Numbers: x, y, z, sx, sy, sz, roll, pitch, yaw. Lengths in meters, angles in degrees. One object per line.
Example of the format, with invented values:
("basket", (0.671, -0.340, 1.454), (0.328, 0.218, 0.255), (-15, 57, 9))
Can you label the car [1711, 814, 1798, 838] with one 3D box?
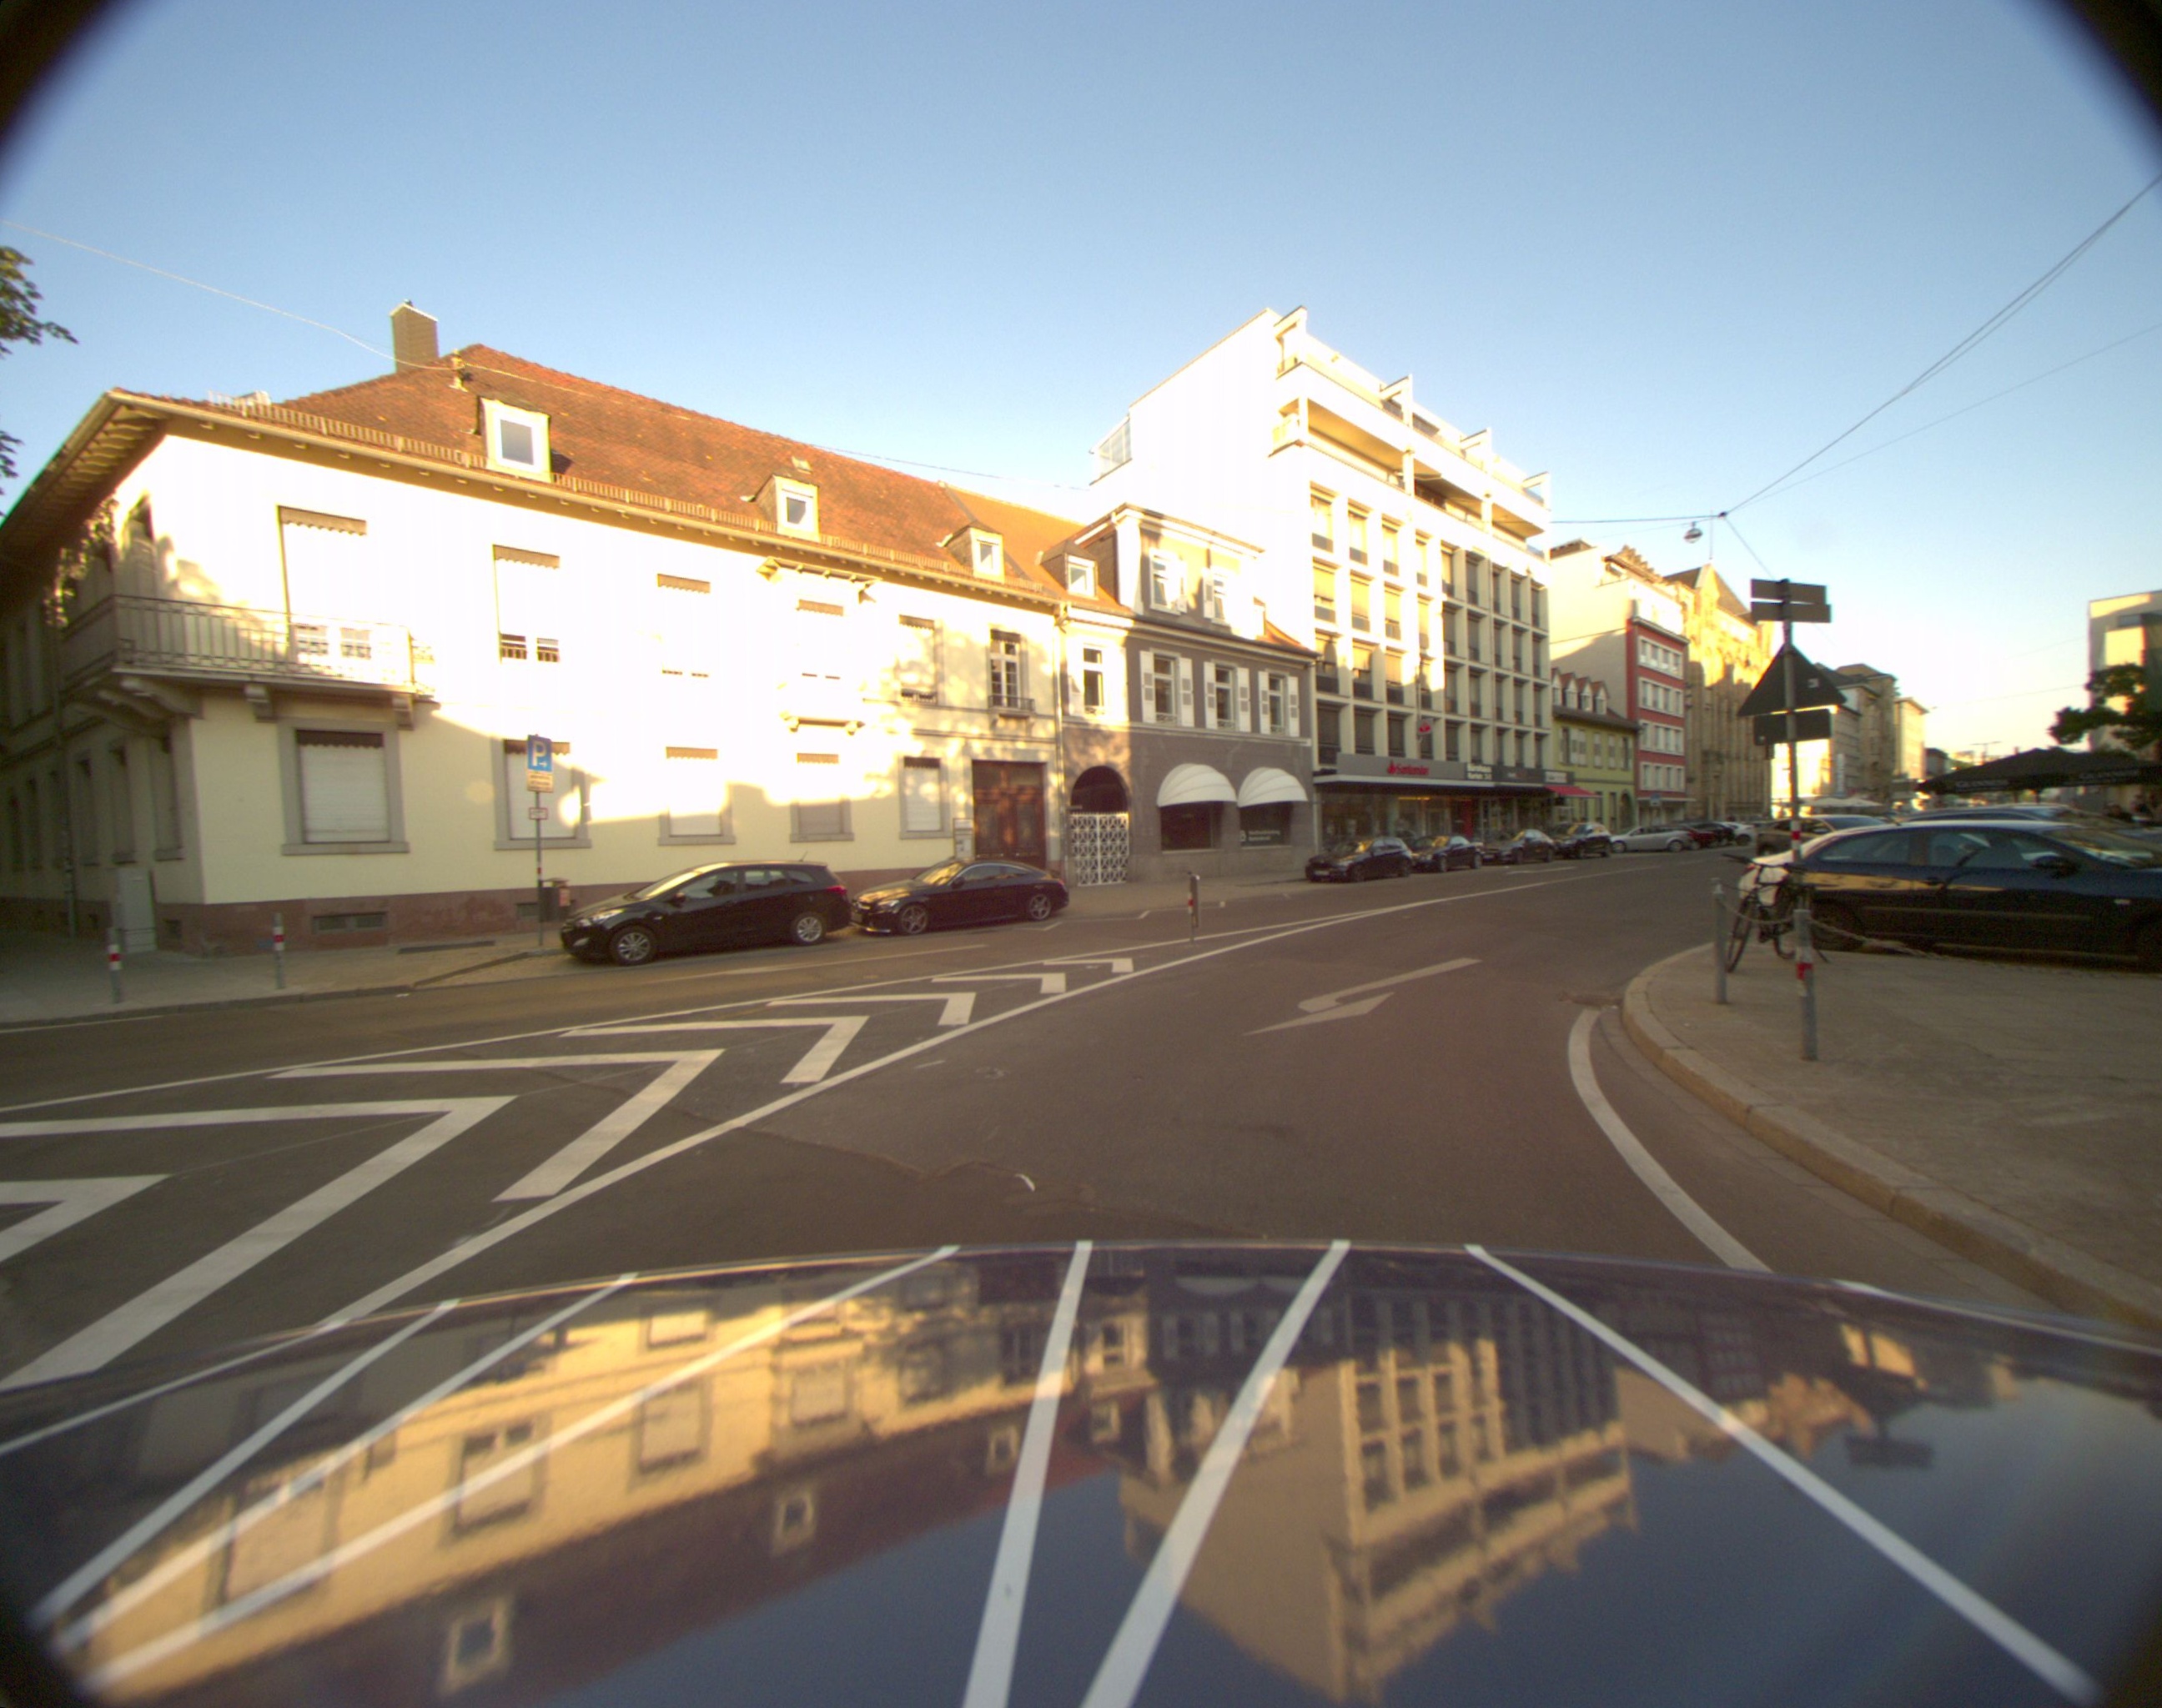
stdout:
("car", (47.027, -1.937, 53.136), (4.218, 1.465, 1.756), (-2, 1, 22))

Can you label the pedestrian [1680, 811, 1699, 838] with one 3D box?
("pedestrian", (45.503, -2.187, 56.820), (1.014, 1.933, 0.848), (-3, 2, -33))

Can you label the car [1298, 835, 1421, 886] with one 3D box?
("car", (9.118, 0.173, 24.740), (4.257, 1.438, 1.743), (-3, 2, -38))

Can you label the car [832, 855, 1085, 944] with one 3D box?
("car", (-2.422, 0.835, 15.784), (4.866, 1.387, 1.774), (-3, 1, -36))

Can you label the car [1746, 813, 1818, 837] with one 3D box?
("car", (54.740, -2.265, 59.439), (3.827, 1.743, 1.757), (-1, 2, 27))

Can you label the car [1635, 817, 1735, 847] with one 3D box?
("car", (35.100, -1.275, 44.277), (4.218, 1.607, 1.756), (-2, 1, 22))

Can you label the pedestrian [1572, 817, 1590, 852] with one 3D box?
("pedestrian", (27.596, -1.080, 41.899), (0.720, 1.876, 0.611), (-3, 2, -39))

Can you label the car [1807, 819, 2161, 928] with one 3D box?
("car", (14.689, 0.205, 12.122), (1.711, 1.439, 4.246), (-2, 2, -12))

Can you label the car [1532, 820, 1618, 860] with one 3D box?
("car", (22.373, -0.656, 34.344), (4.370, 1.649, 1.828), (-3, 2, -36))

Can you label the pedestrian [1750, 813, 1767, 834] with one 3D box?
("pedestrian", (59.975, -2.707, 67.264), (1.014, 1.790, 0.848), (-3, 2, -33))

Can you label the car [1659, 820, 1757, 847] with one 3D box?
("car", (37.622, -1.219, 45.704), (4.218, 1.465, 1.756), (-2, 1, 22))

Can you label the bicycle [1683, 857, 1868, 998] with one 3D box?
("bicycle", (6.662, 0.651, 7.272), (1.806, 1.119, 0.727), (-3, -1, -29))

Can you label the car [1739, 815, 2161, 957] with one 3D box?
("car", (11.966, 0.331, 10.190), (1.769, 1.503, 4.625), (-3, 0, -10))

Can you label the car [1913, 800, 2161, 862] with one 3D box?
("car", (30.057, -0.695, 23.987), (1.908, 1.723, 4.836), (-2, 1, -11))

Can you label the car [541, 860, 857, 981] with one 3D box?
("car", (-6.321, 0.967, 12.837), (4.438, 1.533, 1.803), (-3, 1, -38))

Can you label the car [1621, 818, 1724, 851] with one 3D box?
("car", (33.024, -1.090, 42.533), (4.219, 1.667, 1.756), (-2, 1, 18))

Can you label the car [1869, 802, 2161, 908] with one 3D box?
("car", (17.347, -0.039, 13.681), (1.793, 1.647, 4.045), (-2, 2, -12))

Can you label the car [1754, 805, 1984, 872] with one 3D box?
("car", (21.814, -0.377, 21.278), (1.854, 1.619, 4.047), (-3, 0, -17))

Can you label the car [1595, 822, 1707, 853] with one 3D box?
("car", (29.043, -0.842, 38.814), (4.221, 1.431, 1.755), (-2, 1, 13))

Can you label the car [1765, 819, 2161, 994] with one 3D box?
("car", (9.582, 0.441, 7.483), (1.741, 1.452, 3.860), (-3, -2, -14))

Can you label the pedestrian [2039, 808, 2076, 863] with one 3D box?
("pedestrian", (25.382, -0.484, 19.763), (0.676, 1.408, 0.575), (-3, 2, -38))

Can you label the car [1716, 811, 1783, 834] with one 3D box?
("car", (59.713, -2.766, 67.978), (4.217, 1.871, 1.757), (-1, 2, 27))

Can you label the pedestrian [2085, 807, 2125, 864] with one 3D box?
("pedestrian", (25.827, -0.467, 19.173), (0.676, 1.408, 0.575), (-3, 2, -38))

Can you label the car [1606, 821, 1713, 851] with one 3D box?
("car", (30.953, -0.965, 40.802), (4.219, 1.431, 1.756), (-2, 1, 18))

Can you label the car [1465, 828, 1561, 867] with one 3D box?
("car", (17.965, -0.294, 31.506), (4.566, 1.438, 1.743), (-3, 2, -37))

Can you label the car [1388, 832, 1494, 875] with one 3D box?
("car", (13.383, -0.041, 28.125), (4.509, 1.379, 1.743), (-3, 2, -39))
